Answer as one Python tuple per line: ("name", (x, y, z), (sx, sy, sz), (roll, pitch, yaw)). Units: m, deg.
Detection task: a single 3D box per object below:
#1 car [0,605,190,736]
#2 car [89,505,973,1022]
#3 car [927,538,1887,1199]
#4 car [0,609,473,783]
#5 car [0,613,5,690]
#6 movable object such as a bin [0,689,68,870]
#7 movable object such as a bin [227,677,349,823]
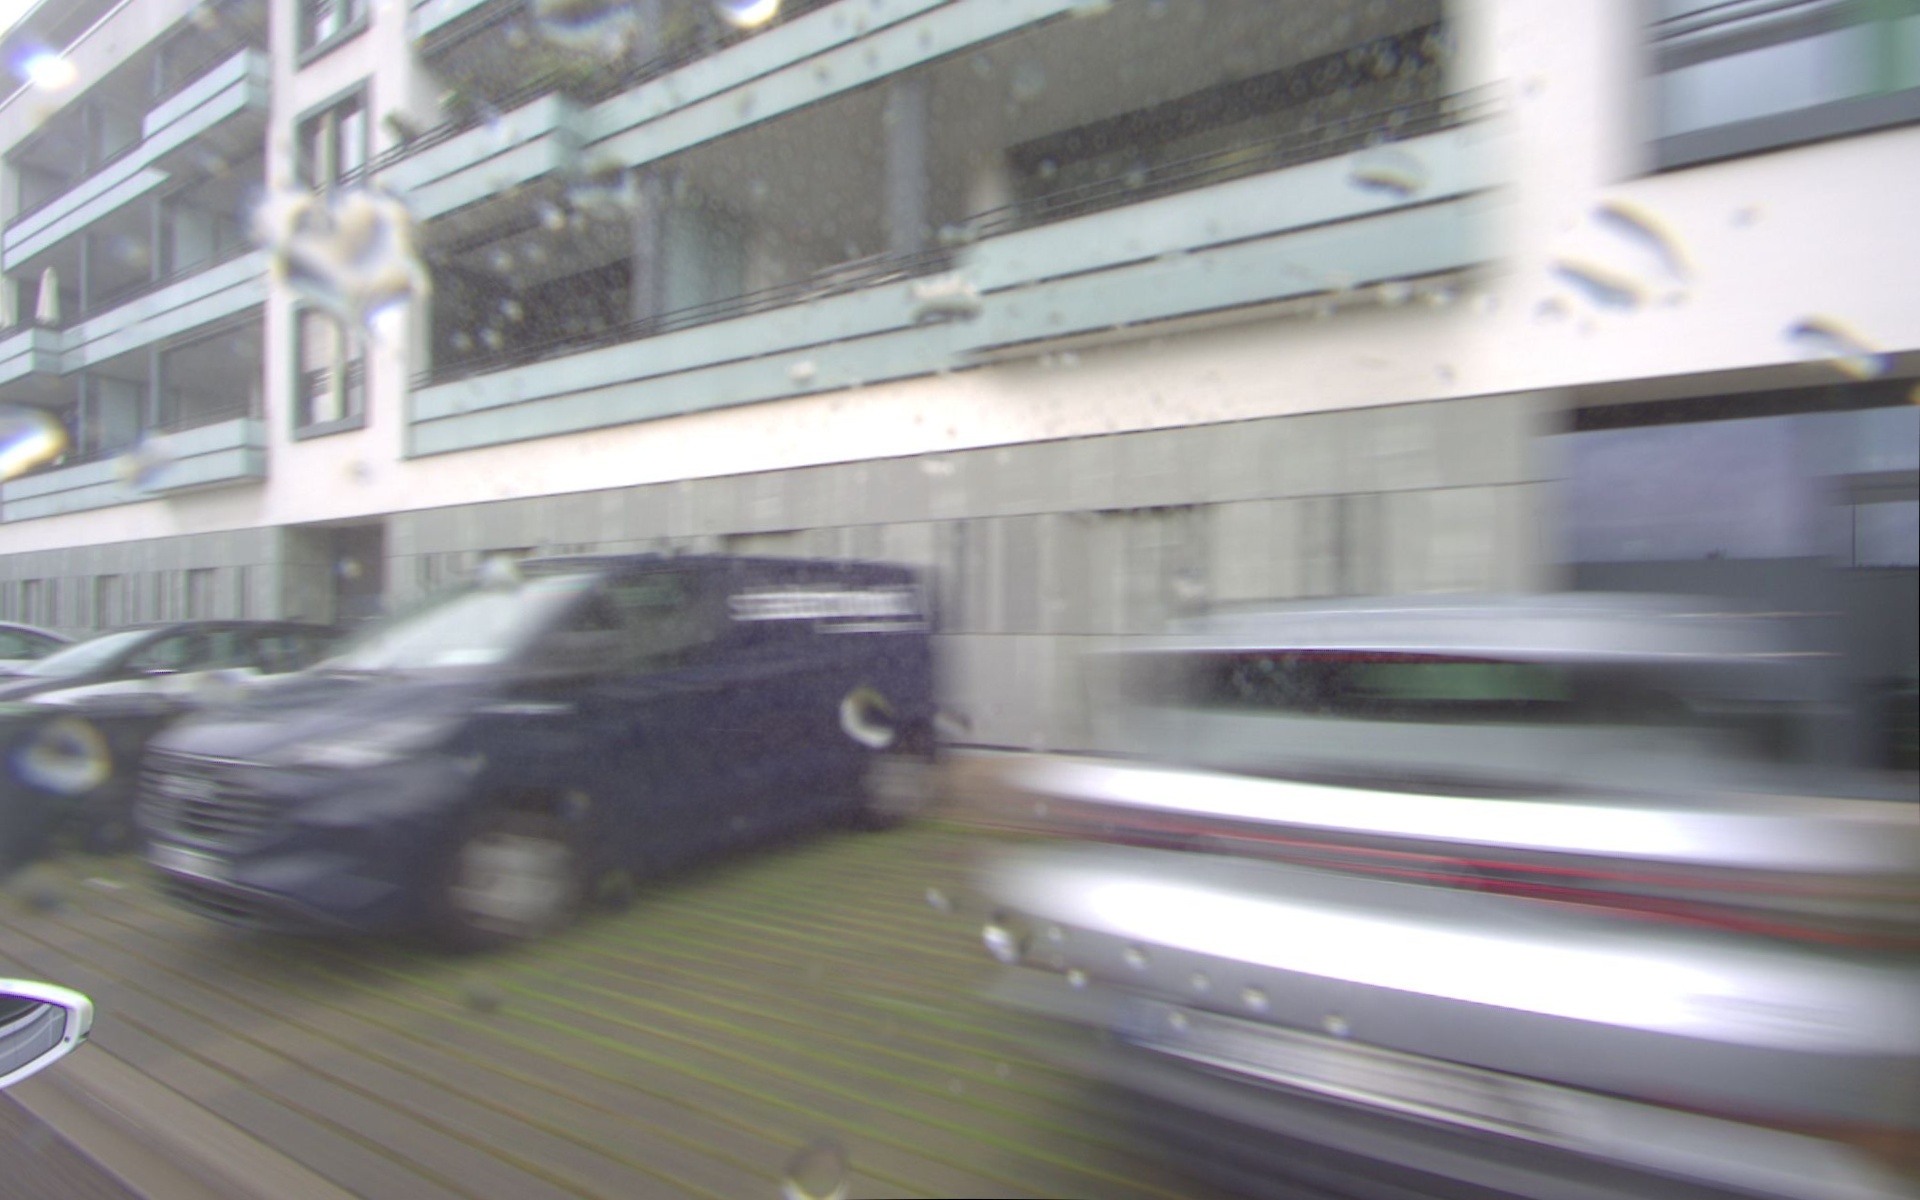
("car", (-12.964, 0.909, 13.157), (1.662, 1.665, 4.202), (-1, -2, 31))
("car", (-2.040, 0.632, 6.450), (1.953, 1.954, 5.040), (0, 0, 32))
("car", (2.033, 0.726, 4.059), (2.056, 1.622, 4.404), (0, 0, 37))
("car", (-7.811, 0.875, 11.045), (1.724, 1.502, 4.171), (-1, 0, 29))
("car", (-20.751, 1.015, 18.778), (1.738, 1.510, 3.837), (0, 0, 33))
("movable object such as a bin", (-6.198, 1.104, 6.224), (0.803, 1.060, 0.539), (1, -1, -20))
("movable object such as a bin", (-5.378, 1.168, 8.016), (0.806, 1.060, 0.537), (0, -1, 34))
